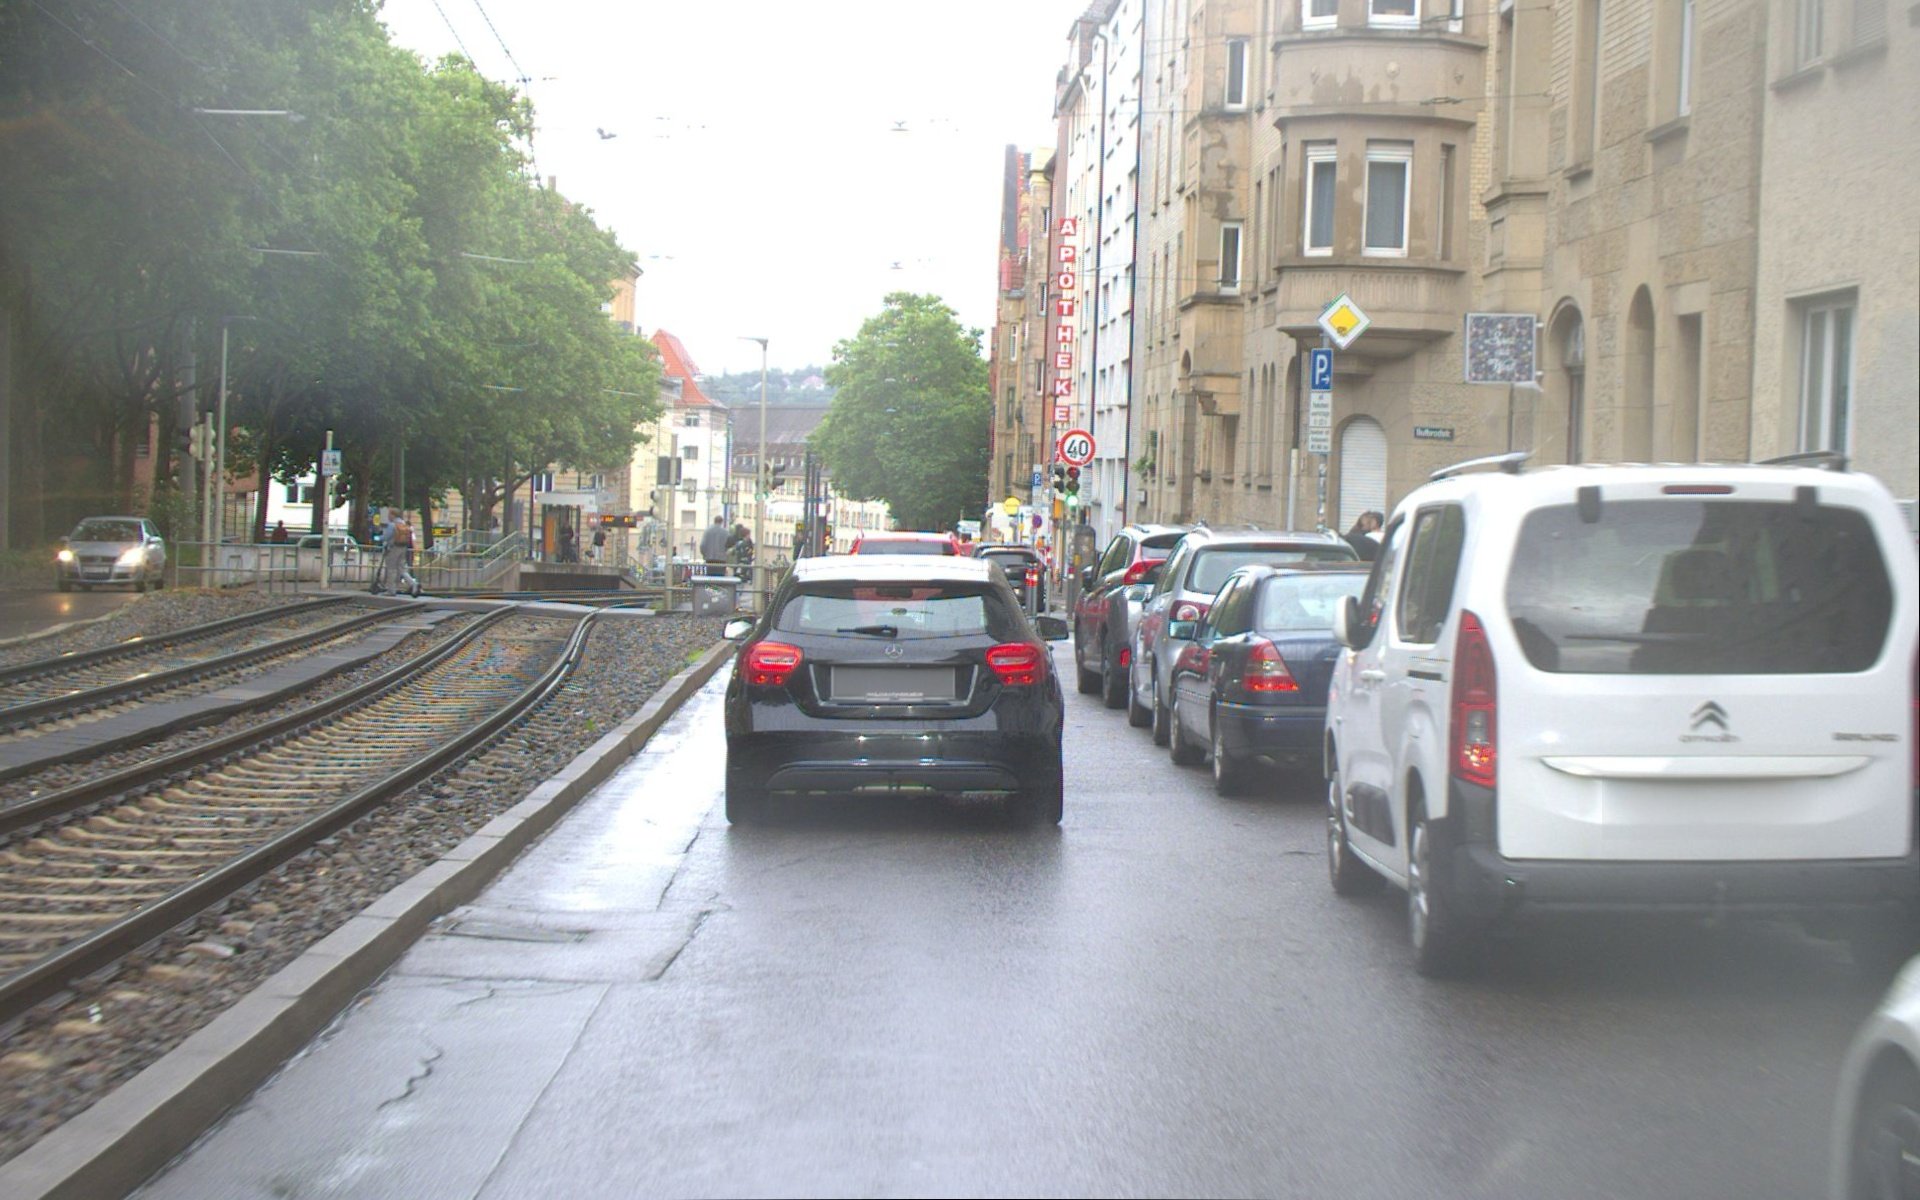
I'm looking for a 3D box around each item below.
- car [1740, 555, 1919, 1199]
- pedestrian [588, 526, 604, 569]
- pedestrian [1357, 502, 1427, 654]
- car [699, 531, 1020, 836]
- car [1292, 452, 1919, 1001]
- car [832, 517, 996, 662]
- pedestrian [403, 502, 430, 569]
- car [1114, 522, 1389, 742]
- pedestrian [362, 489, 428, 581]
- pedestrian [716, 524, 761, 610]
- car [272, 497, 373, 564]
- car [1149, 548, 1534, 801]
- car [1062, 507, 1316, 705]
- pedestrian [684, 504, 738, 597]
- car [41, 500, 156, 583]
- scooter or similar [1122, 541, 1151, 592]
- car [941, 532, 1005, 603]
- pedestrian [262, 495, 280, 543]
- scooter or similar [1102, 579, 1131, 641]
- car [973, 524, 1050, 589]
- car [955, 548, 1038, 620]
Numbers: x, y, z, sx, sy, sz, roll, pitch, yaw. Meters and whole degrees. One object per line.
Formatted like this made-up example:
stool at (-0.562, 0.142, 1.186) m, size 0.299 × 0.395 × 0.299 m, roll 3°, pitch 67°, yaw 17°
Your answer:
car at (2.443, 0.719, 3.761) m, size 1.871 × 1.450 × 4.903 m, roll 1°, pitch 1°, yaw -2°
pedestrian at (-14.972, -2.164, 141.273) m, size 0.518 × 1.711 × 0.551 m, roll 3°, pitch 1°, yaw -1°
pedestrian at (5.127, -0.266, 40.841) m, size 0.694 × 1.781 × 0.758 m, roll -1°, pitch 1°, yaw -2°
car at (-0.556, 0.388, 19.024) m, size 1.580 × 1.499 × 3.575 m, roll 1°, pitch 1°, yaw -2°
car at (2.424, 0.367, 13.357) m, size 1.828 × 1.744 × 4.467 m, roll 1°, pitch 1°, yaw 0°
car at (-0.545, -0.153, 40.113) m, size 1.785 × 1.575 × 4.000 m, roll 1°, pitch 1°, yaw -1°
pedestrian at (-14.427, -1.718, 91.262) m, size 0.534 × 1.748 × 0.607 m, roll 3°, pitch 1°, yaw -1°
car at (2.169, 0.197, 26.521) m, size 1.693 × 1.524 × 4.000 m, roll 1°, pitch 1°, yaw -1°
pedestrian at (-10.877, -1.252, 66.205) m, size 1.054 × 1.713 × 0.904 m, roll 2°, pitch 1°, yaw 0°
pedestrian at (-4.214, -0.634, 65.448) m, size 0.806 × 1.628 × 0.892 m, roll 0°, pitch 1°, yaw -1°
car at (-17.623, -1.921, 95.155) m, size 1.993 × 1.733 × 4.000 m, roll 2°, pitch 1°, yaw 0°
car at (2.250, 0.385, 21.393) m, size 1.717 × 1.342 × 4.462 m, roll 2°, pitch 1°, yaw -2°
car at (2.052, 0.015, 31.954) m, size 1.766 × 1.662 × 4.333 m, roll 2°, pitch 1°, yaw -3°
pedestrian at (-5.377, -1.078, 74.283) m, size 1.137 × 1.991 × 1.173 m, roll 0°, pitch 1°, yaw -5°
car at (-16.452, -1.132, 65.816) m, size 1.816 × 1.499 × 4.635 m, roll 1°, pitch 1°, yaw -10°
scooter or similar at (4.684, -0.895, 91.284) m, size 0.448 × 1.316 × 1.778 m, roll 0°, pitch 1°, yaw -8°
car at (0.357, -0.963, 100.593) m, size 1.759 × 2.007 × 4.000 m, roll 0°, pitch 1°, yaw -1°
pedestrian at (-25.651, -3.013, 127.973) m, size 0.553 × 1.739 × 0.606 m, roll 0°, pitch 0°, yaw -2°
scooter or similar at (3.473, 0.210, 76.446) m, size 0.448 × 1.316 × 1.778 m, roll 0°, pitch 1°, yaw -4°
car at (1.256, -1.100, 85.451) m, size 1.759 × 1.573 × 4.000 m, roll 0°, pitch 1°, yaw -1°
car at (0.830, -0.395, 80.740) m, size 1.827 × 1.612 × 3.864 m, roll 0°, pitch 1°, yaw -1°
